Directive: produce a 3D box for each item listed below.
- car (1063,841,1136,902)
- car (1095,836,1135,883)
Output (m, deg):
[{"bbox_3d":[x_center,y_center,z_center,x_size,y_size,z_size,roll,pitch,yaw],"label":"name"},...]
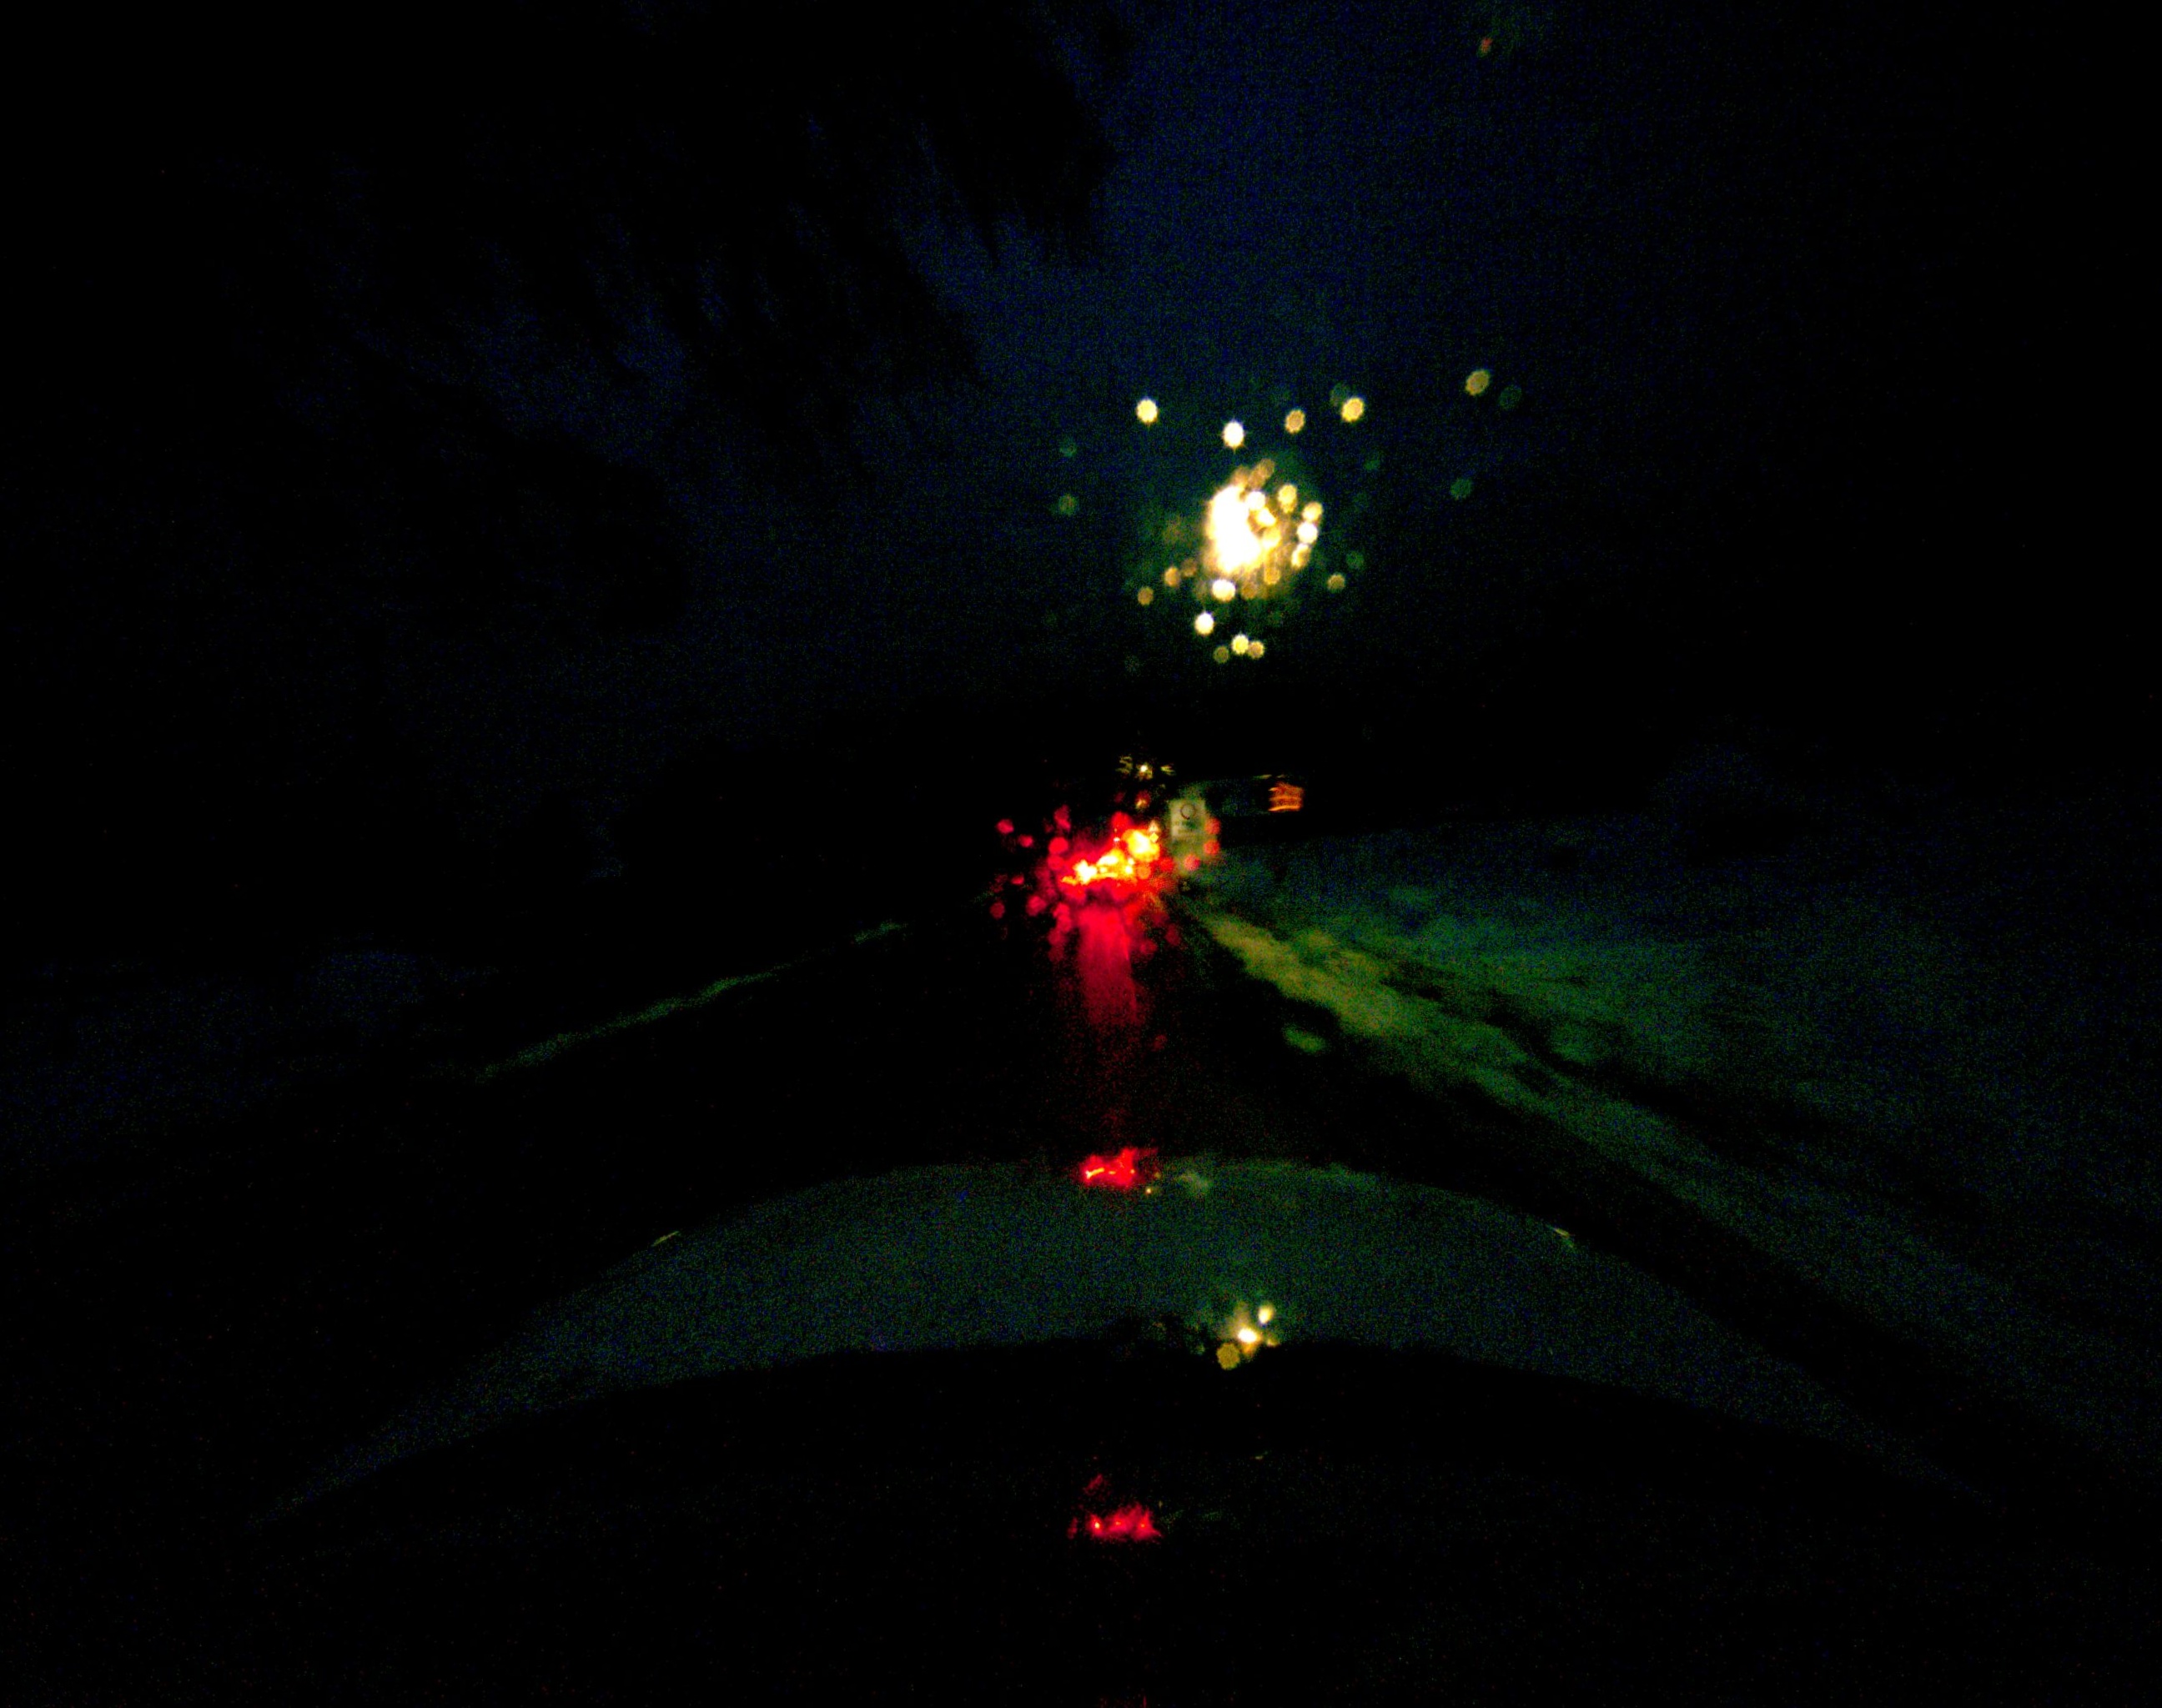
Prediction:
[{"bbox_3d":[0.631,0.557,28.819,2.267,1.840,5.007,-3,0,0],"label":"car"},{"bbox_3d":[2.439,0.398,57.562,2.425,3.018,5.329,-4,-1,3],"label":"car"}]
